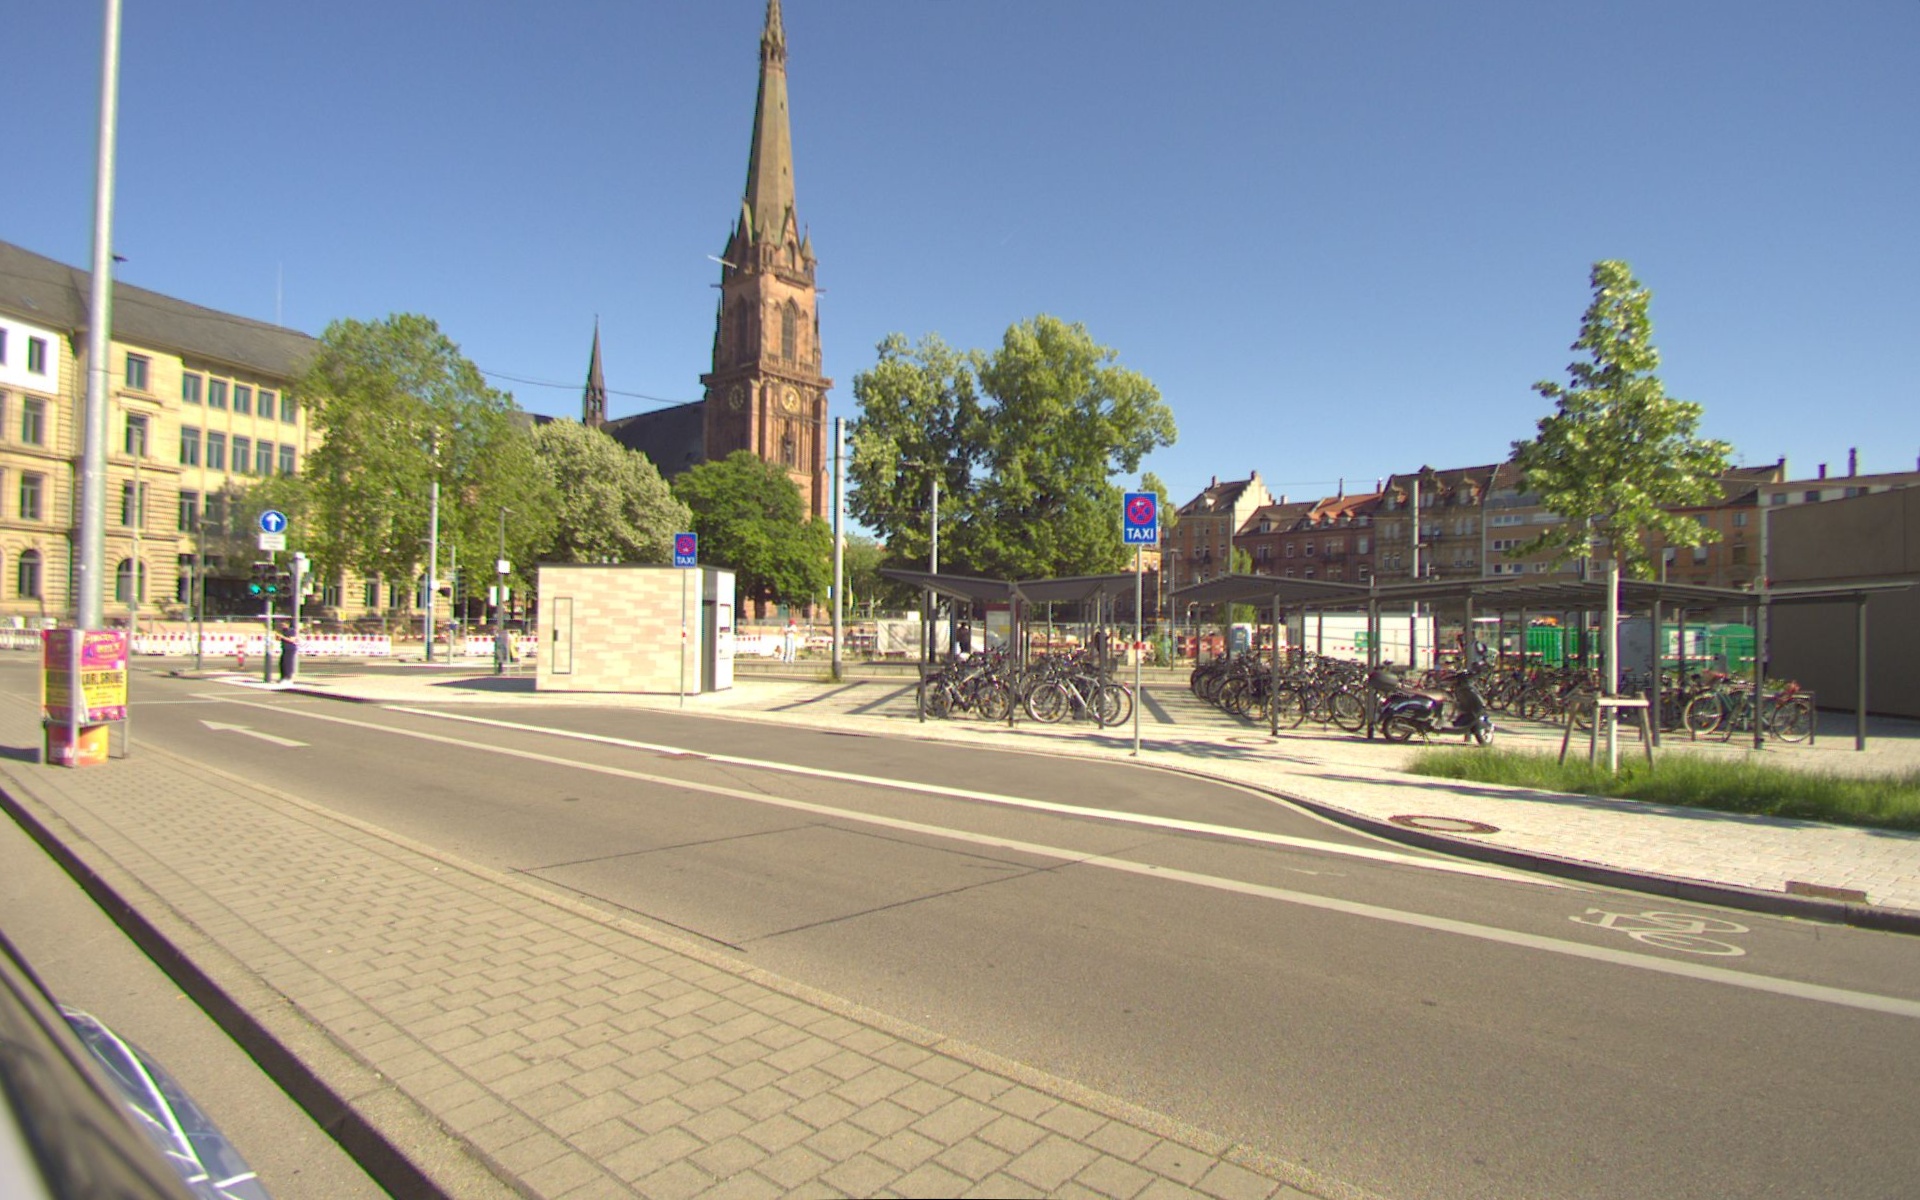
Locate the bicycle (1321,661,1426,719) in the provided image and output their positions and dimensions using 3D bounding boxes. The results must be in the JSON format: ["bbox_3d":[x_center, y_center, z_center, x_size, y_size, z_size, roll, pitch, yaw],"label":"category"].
[{"bbox_3d":[7.952,1.728,19.492,1.765,1.046,0.567,1,-3,4],"label":"bicycle"}]

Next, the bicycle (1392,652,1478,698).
[{"bbox_3d":[11.368,1.781,24.228,1.765,1.046,0.567,1,-3,4],"label":"bicycle"}]

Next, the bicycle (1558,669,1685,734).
[{"bbox_3d":[11.444,1.751,17.546,1.765,1.046,0.567,1,-3,4],"label":"bicycle"}]

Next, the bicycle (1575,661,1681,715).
[{"bbox_3d":[13.835,1.816,20.999,1.765,1.046,0.567,1,-3,4],"label":"bicycle"}]

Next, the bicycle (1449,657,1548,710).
[{"bbox_3d":[11.363,1.762,21.383,1.765,1.046,0.567,1,-3,4],"label":"bicycle"}]

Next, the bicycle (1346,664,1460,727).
[{"bbox_3d":[7.910,1.705,18.112,1.765,1.046,0.567,1,-3,4],"label":"bicycle"}]

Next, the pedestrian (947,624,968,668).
[{"bbox_3d":[-0.097,1.761,39.072,0.518,1.667,0.559,-1,0,41],"label":"pedestrian"}]

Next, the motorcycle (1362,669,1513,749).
[{"bbox_3d":[7.161,1.625,15.247,1.962,1.128,0.593,0,-2,8],"label":"motorcycle"}]

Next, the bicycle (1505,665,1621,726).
[{"bbox_3d":[11.203,1.764,18.837,1.765,1.046,0.567,1,-3,4],"label":"bicycle"}]

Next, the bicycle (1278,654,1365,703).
[{"bbox_3d":[8.189,1.775,22.974,1.765,1.046,0.567,1,-3,4],"label":"bicycle"}]

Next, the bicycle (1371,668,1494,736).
[{"bbox_3d":[7.842,1.691,16.846,1.765,1.046,0.567,1,-3,4],"label":"bicycle"}]

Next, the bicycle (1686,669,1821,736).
[{"bbox_3d":[13.378,1.722,17.094,1.765,1.046,0.567,1,-3,4],"label":"bicycle"}]

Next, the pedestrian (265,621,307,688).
[{"bbox_3d":[-17.591,1.398,26.418,0.648,1.693,0.779,-1,0,42],"label":"pedestrian"}]

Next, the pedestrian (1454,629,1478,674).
[{"bbox_3d":[17.700,1.800,35.408,0.581,1.530,0.559,1,-2,6],"label":"pedestrian"}]

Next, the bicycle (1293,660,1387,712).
[{"bbox_3d":[8.103,1.824,21.605,1.765,1.046,0.567,1,-3,4],"label":"bicycle"}]

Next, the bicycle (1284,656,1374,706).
[{"bbox_3d":[8.140,1.783,22.372,1.765,1.046,0.567,1,-3,4],"label":"bicycle"}]

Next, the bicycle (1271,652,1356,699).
[{"bbox_3d":[8.232,1.755,23.609,1.765,1.046,0.567,1,-3,4],"label":"bicycle"}]

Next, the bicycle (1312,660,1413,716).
[{"bbox_3d":[8.011,1.745,20.180,1.765,1.046,0.567,1,-3,4],"label":"bicycle"}]

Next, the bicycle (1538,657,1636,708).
[{"bbox_3d":[13.867,1.815,22.410,1.765,1.046,0.567,1,-3,4],"label":"bicycle"}]

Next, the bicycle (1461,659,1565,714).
[{"bbox_3d":[11.271,1.763,20.662,1.765,1.046,0.567,1,-3,4],"label":"bicycle"}]

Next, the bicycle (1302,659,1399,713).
[{"bbox_3d":[8.054,1.766,20.889,1.765,1.046,0.567,1,-3,4],"label":"bicycle"}]

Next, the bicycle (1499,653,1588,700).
[{"bbox_3d":[13.822,1.815,24.000,1.765,1.046,0.567,1,-3,4],"label":"bicycle"}]

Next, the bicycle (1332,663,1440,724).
[{"bbox_3d":[7.920,1.729,18.856,1.765,1.046,0.567,1,-3,4],"label":"bicycle"}]

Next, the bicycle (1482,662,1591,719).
[{"bbox_3d":[11.278,1.763,19.834,1.765,1.046,0.567,1,-3,4],"label":"bicycle"}]

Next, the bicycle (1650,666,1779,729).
[{"bbox_3d":[13.584,1.750,18.259,1.769,1.046,0.566,1,-3,12],"label":"bicycle"}]

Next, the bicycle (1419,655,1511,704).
[{"bbox_3d":[11.403,1.790,22.894,1.765,1.046,0.567,1,-3,4],"label":"bicycle"}]

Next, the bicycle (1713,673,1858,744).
[{"bbox_3d":[13.151,1.717,16.159,1.765,1.046,0.567,1,-3,4],"label":"bicycle"}]

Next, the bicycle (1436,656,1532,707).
[{"bbox_3d":[11.425,1.776,22.100,1.765,1.046,0.567,1,-3,4],"label":"bicycle"}]

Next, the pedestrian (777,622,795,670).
[{"bbox_3d":[-6.455,1.706,37.600,0.529,1.736,0.684,0,-6,-19],"label":"pedestrian"}]

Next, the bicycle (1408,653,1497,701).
[{"bbox_3d":[11.436,1.784,23.514,1.765,1.046,0.567,1,-3,4],"label":"bicycle"}]

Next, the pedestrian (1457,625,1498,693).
[{"bbox_3d":[13.353,1.505,26.118,0.671,1.736,0.619,1,-2,-10],"label":"pedestrian"}]

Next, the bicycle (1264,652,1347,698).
[{"bbox_3d":[8.262,1.794,24.245,1.765,1.046,0.567,1,-3,4],"label":"bicycle"}]

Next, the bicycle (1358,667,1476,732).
[{"bbox_3d":[7.884,1.712,17.509,1.765,1.046,0.567,1,-3,4],"label":"bicycle"}]

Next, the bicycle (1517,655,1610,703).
[{"bbox_3d":[13.877,1.815,23.285,1.765,1.046,0.567,1,-3,4],"label":"bicycle"}]
